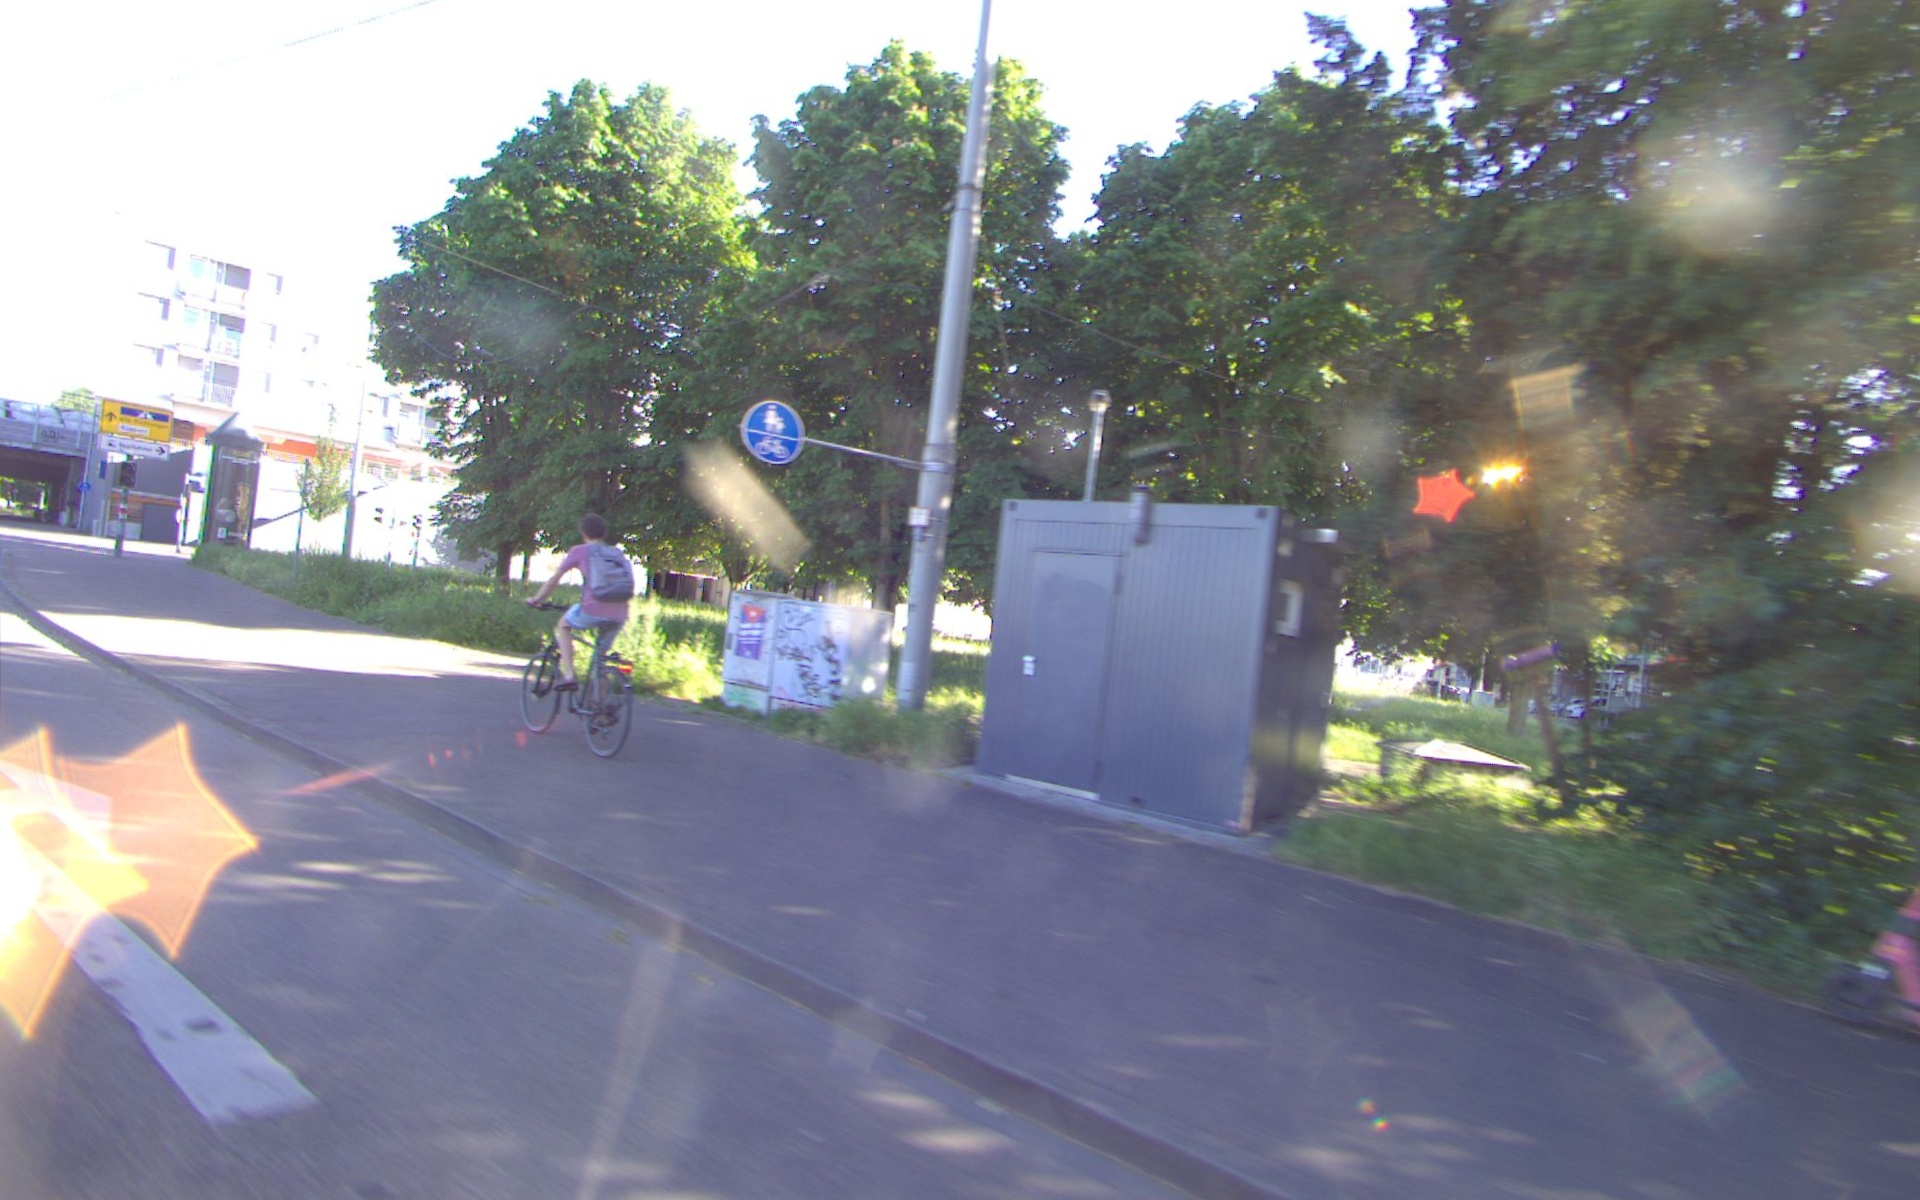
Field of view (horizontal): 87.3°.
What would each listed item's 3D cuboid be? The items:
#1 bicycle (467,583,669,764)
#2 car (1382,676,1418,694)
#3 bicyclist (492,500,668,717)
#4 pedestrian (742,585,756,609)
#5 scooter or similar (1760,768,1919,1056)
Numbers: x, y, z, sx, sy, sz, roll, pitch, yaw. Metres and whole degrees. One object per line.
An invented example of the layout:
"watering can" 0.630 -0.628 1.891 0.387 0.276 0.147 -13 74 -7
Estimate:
"bicycle" -3.254 0.556 8.240 0.716 1.207 1.976 6 0 -45
"car" 55.399 10.750 126.726 3.952 1.657 1.990 9 -4 -25
"bicyclist" -3.117 0.056 8.215 0.809 1.619 1.134 6 0 -45
"pedestrian" -15.499 -0.205 73.836 0.655 1.720 0.596 9 -3 -28
"scooter or similar" 4.999 1.594 4.707 1.803 1.234 0.384 8 2 33
